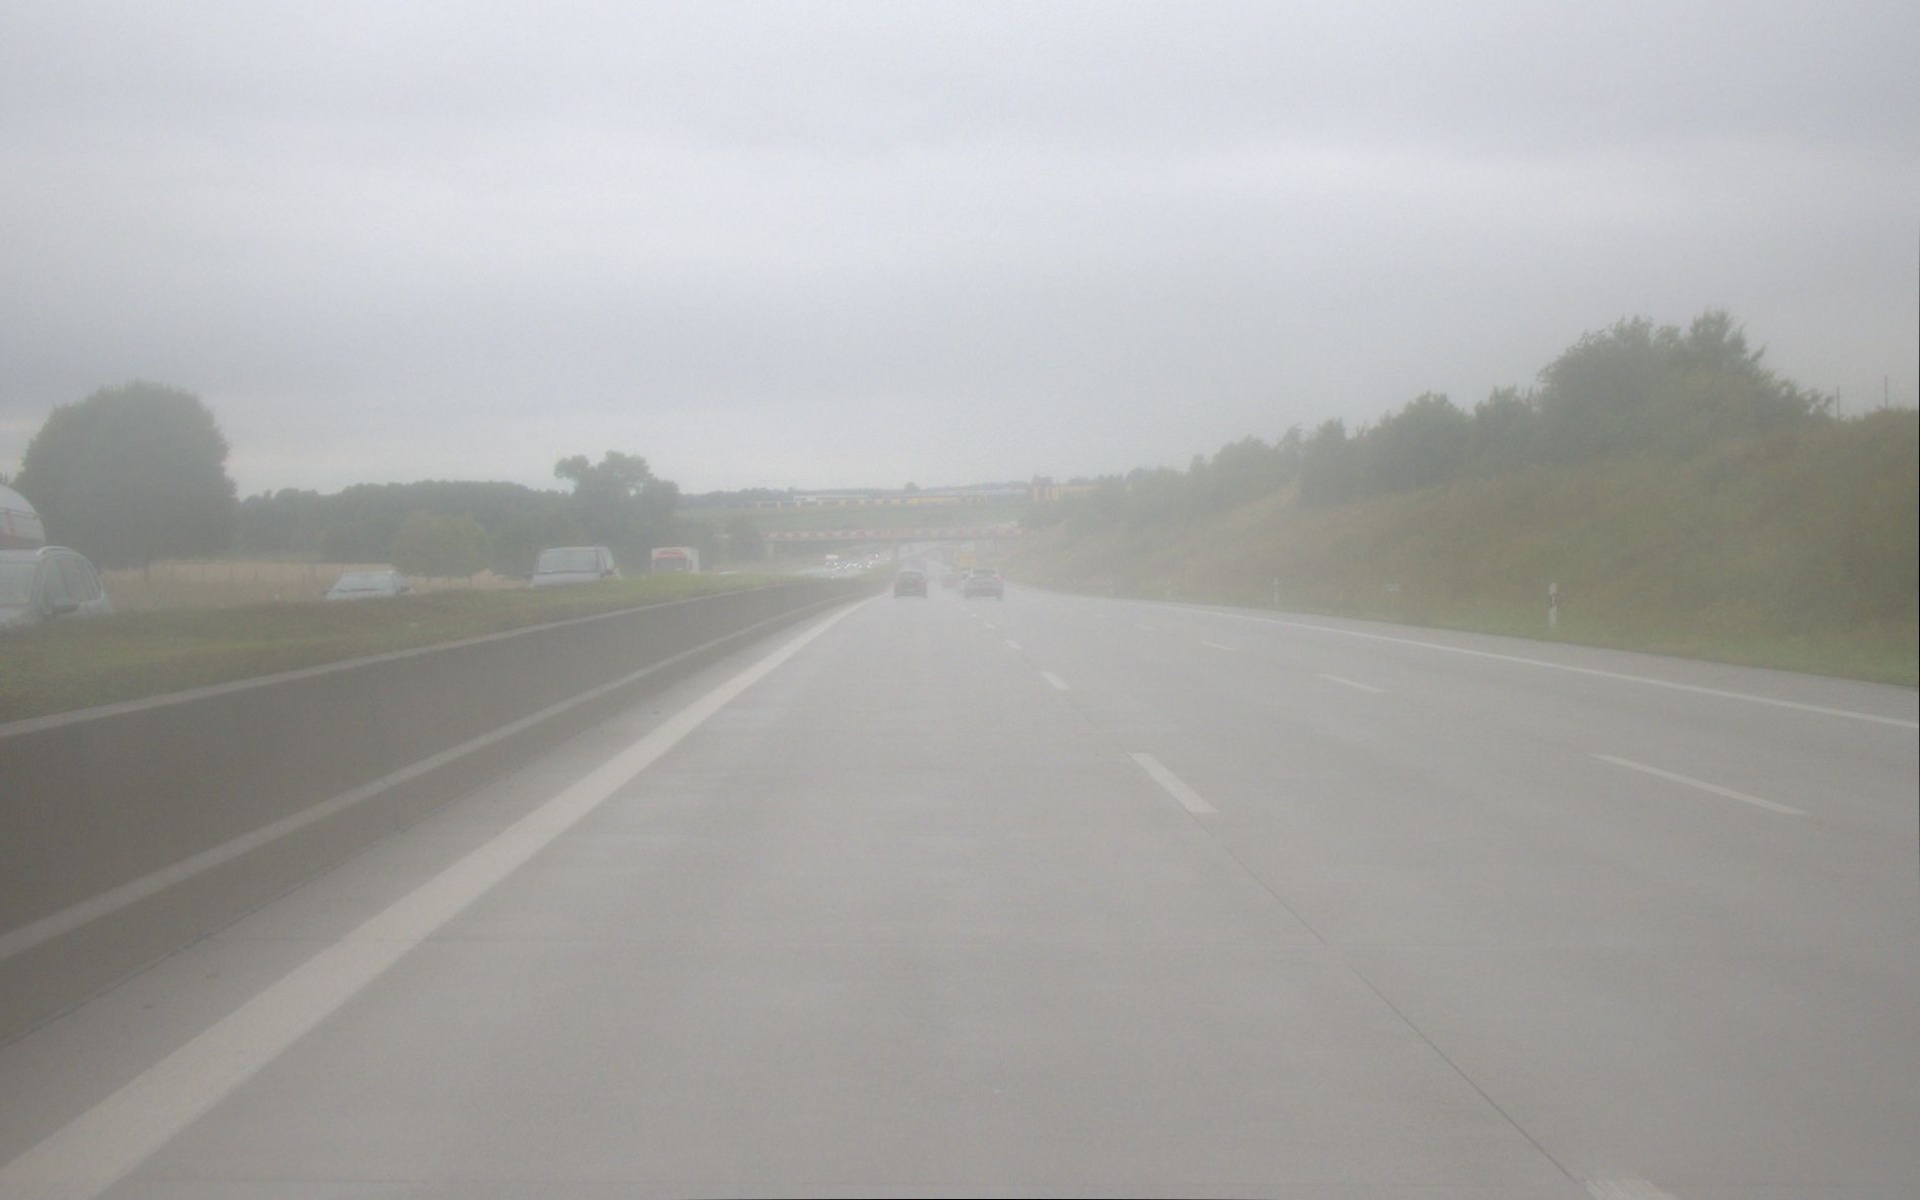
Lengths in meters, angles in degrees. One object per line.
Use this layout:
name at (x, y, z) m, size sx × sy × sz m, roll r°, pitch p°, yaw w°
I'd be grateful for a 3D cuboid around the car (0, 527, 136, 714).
car at (-9.355, 0.148, 33.166) m, size 1.783 × 1.681 × 4.560 m, roll -1°, pitch 1°, yaw -1°

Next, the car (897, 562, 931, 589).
car at (-2.429, -1.314, 181.673) m, size 1.729 × 1.326 × 4.430 m, roll 0°, pitch 2°, yaw 0°

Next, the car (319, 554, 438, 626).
car at (-12.993, -0.252, 77.062) m, size 1.993 × 1.538 × 4.560 m, roll -1°, pitch 1°, yaw -1°

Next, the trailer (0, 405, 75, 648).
trailer at (-16.946, -1.176, 55.834) m, size 2.664 × 3.958 × 11.138 m, roll -1°, pitch 1°, yaw -3°

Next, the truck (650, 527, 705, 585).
truck at (-19.542, -3.113, 238.379) m, size 2.903 × 3.842 × 12.451 m, roll -1°, pitch 1°, yaw -1°

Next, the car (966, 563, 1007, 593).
car at (1.310, -1.108, 171.971) m, size 1.847 × 1.326 × 4.430 m, roll 0°, pitch 2°, yaw -2°
